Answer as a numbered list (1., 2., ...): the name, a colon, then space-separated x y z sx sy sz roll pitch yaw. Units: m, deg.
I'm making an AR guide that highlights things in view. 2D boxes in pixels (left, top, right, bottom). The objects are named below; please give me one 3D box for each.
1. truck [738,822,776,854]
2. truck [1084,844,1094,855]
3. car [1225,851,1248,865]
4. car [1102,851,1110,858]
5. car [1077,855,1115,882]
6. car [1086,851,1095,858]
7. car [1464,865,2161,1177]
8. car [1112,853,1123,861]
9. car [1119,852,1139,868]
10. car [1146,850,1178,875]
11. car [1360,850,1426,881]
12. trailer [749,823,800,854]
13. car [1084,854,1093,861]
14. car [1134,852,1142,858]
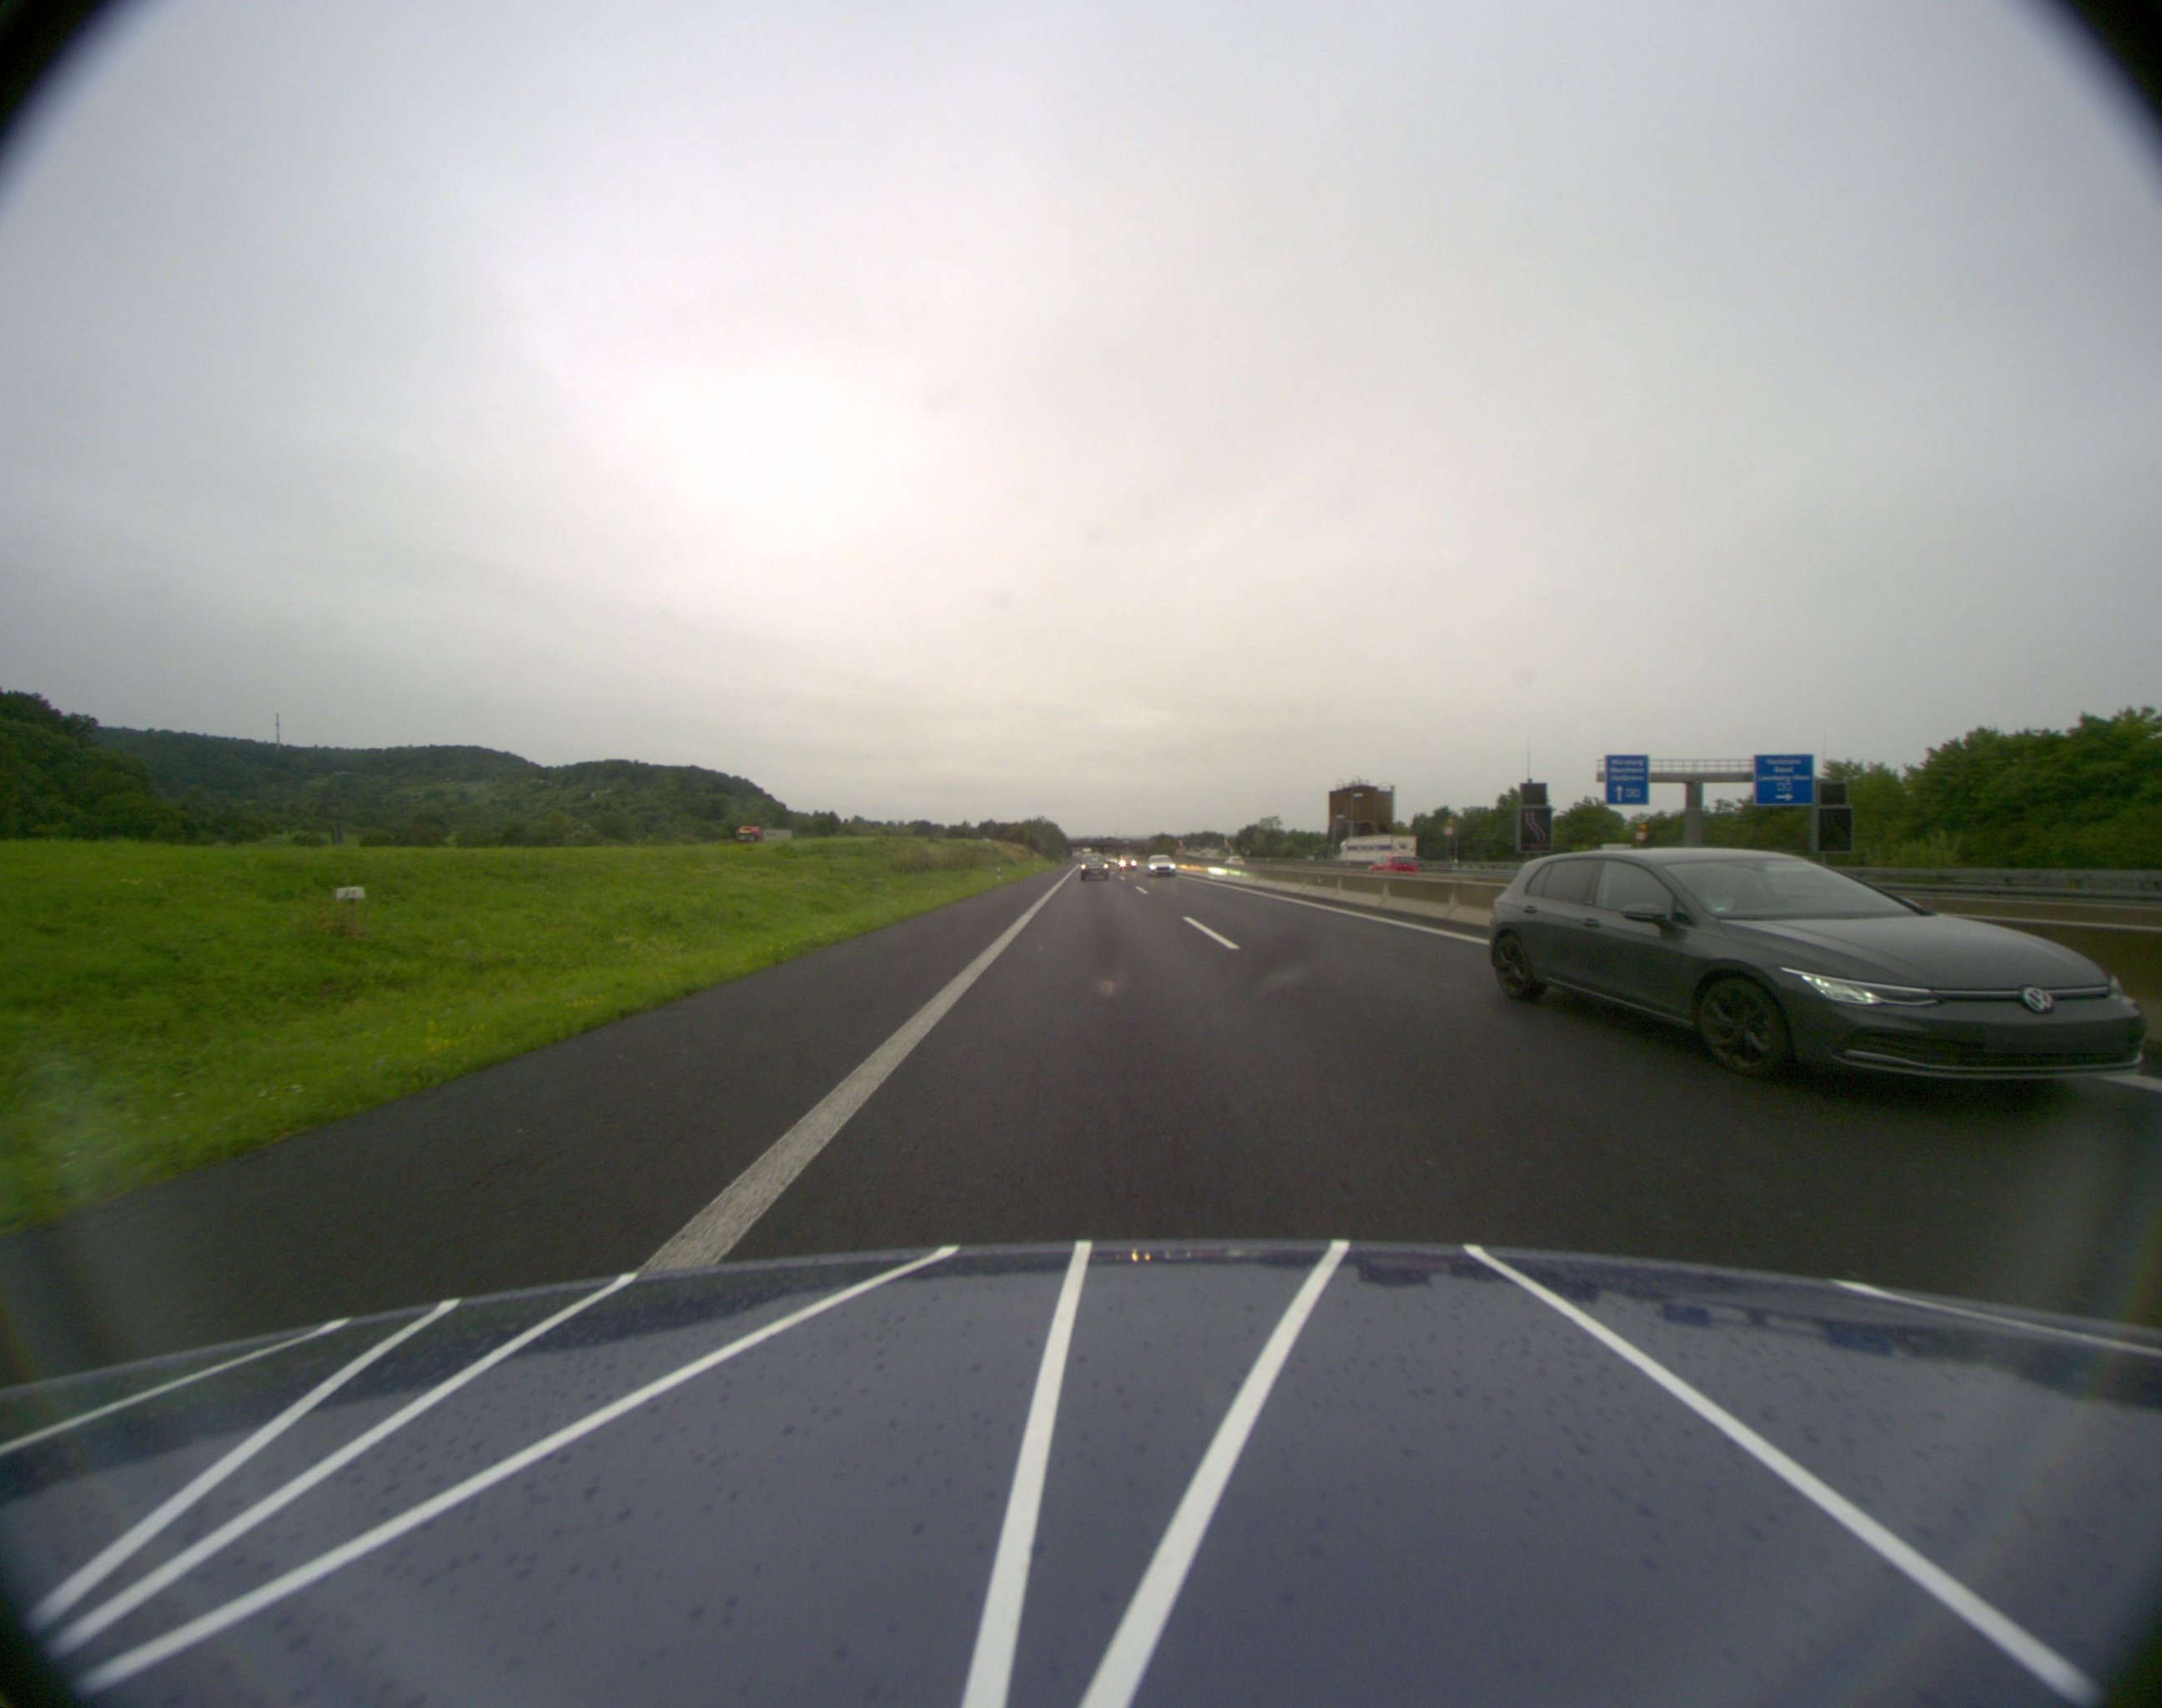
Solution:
1. truck: -42.012 -2.044 98.766 2.515 3.964 5.925 -3 1 -4
2. truck: 2.510 -1.314 231.180 2.728 3.098 7.960 -3 0 1
3. car: 18.246 0.457 89.294 1.998 1.652 4.314 -1 0 3
4. car: 6.040 0.126 184.010 1.998 1.565 4.000 -2 0 1
5. car: 1.013 0.879 48.623 2.242 1.565 4.817 -2 0 2
6. car: 2.235 0.101 178.899 1.942 1.341 4.000 -3 0 1
7. car: 4.964 0.838 5.851 1.835 1.416 4.368 -2 0 1
8. car: 6.965 0.589 145.425 1.941 1.341 4.001 -4 0 2
9. car: 4.891 0.592 77.864 1.835 1.417 4.368 -3 0 2
10. car: 5.633 0.536 53.351 1.998 1.582 4.817 -2 0 3
11. car: 17.152 0.604 42.005 1.728 1.543 4.582 -2 0 0
12. trailer: -42.371 -2.076 105.611 2.497 3.961 12.401 -3 0 -3
13. car: 1.630 0.836 172.371 1.942 1.341 4.000 -3 0 1
14. car: 15.479 0.260 205.313 1.860 1.383 4.445 -1 0 2
